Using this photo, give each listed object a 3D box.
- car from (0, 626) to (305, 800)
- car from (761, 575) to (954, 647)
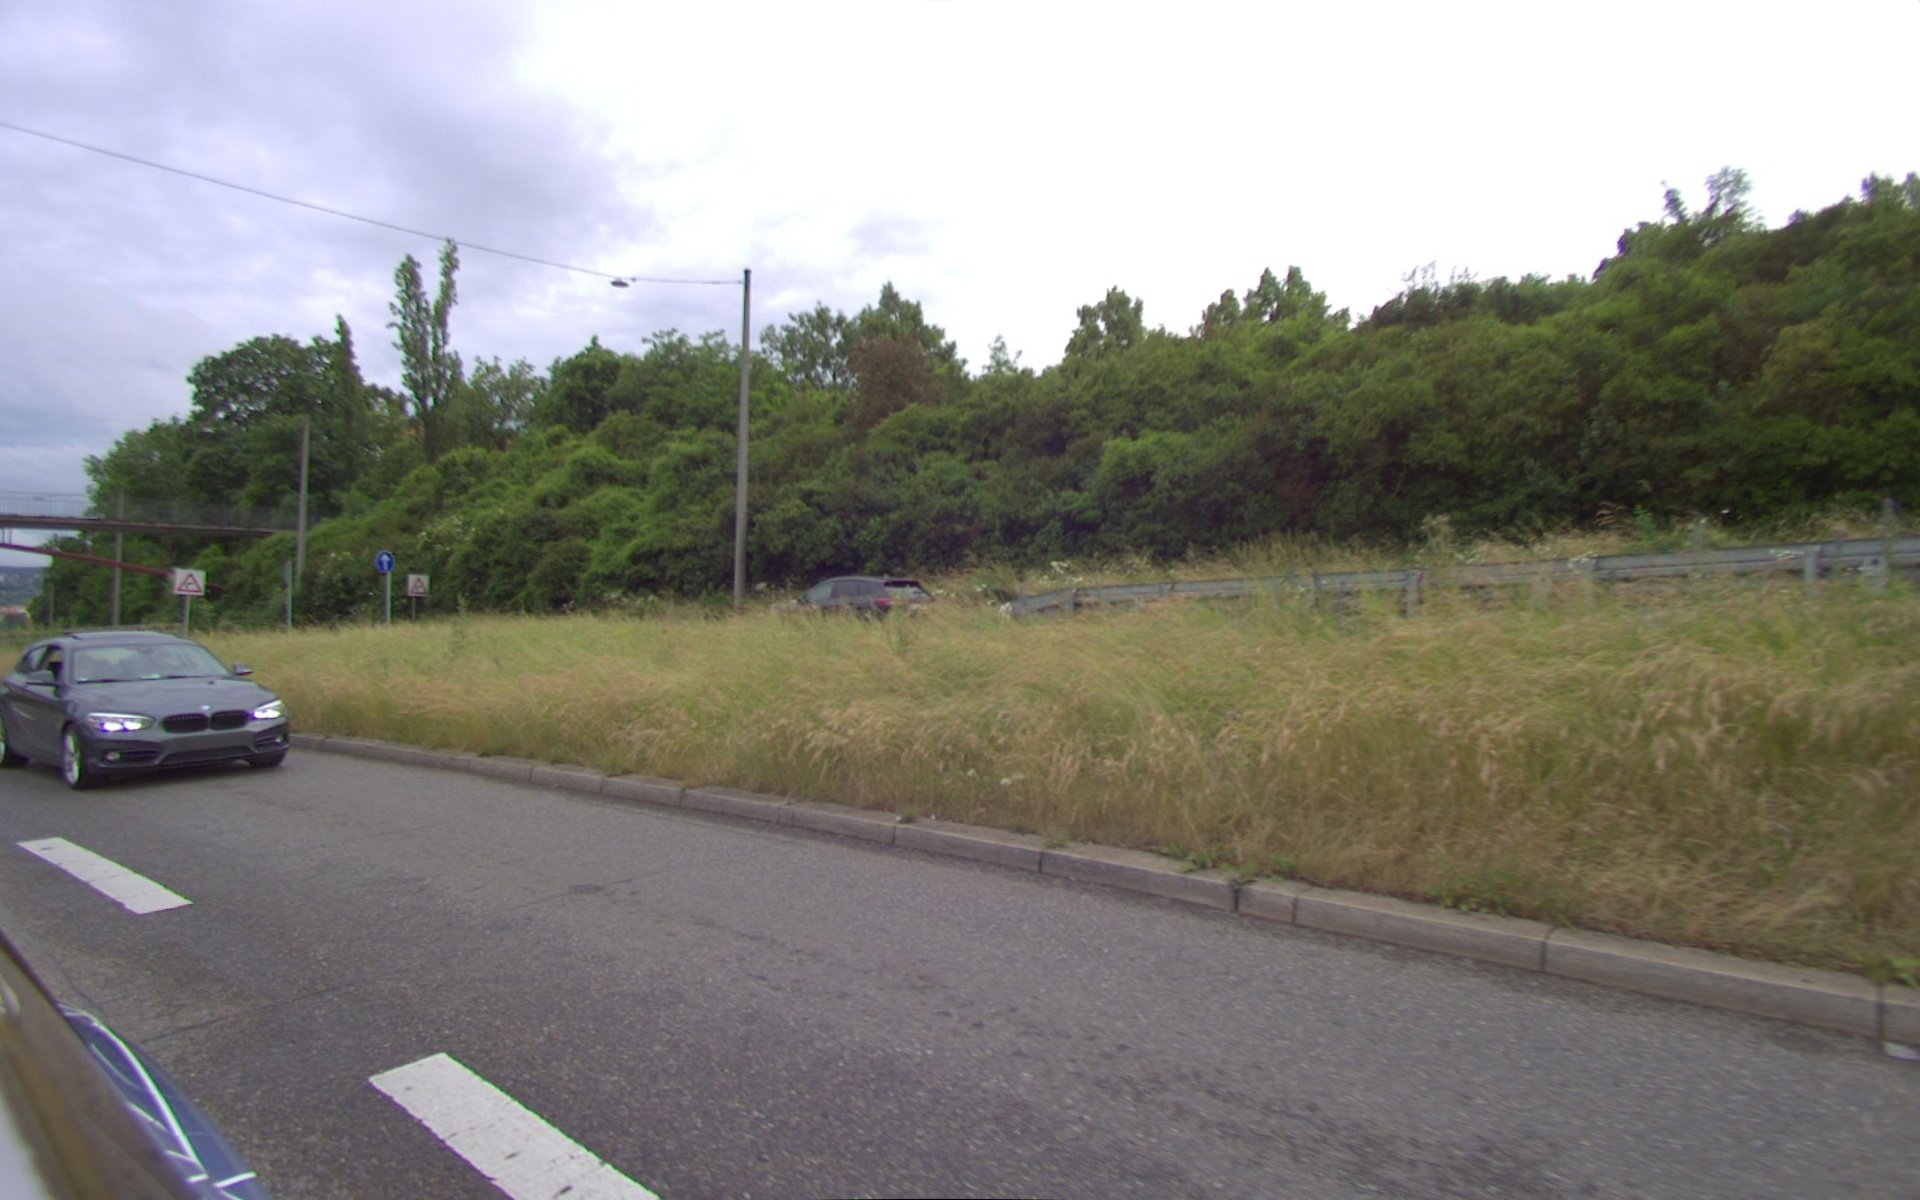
[{"bbox_3d":[-8.817,1.040,10.780,4.105,1.471,1.688,-1,0,35],"label":"car"},{"bbox_3d":[-2.370,0.244,22.748,4.285,1.464,1.972,-1,0,42],"label":"car"}]
